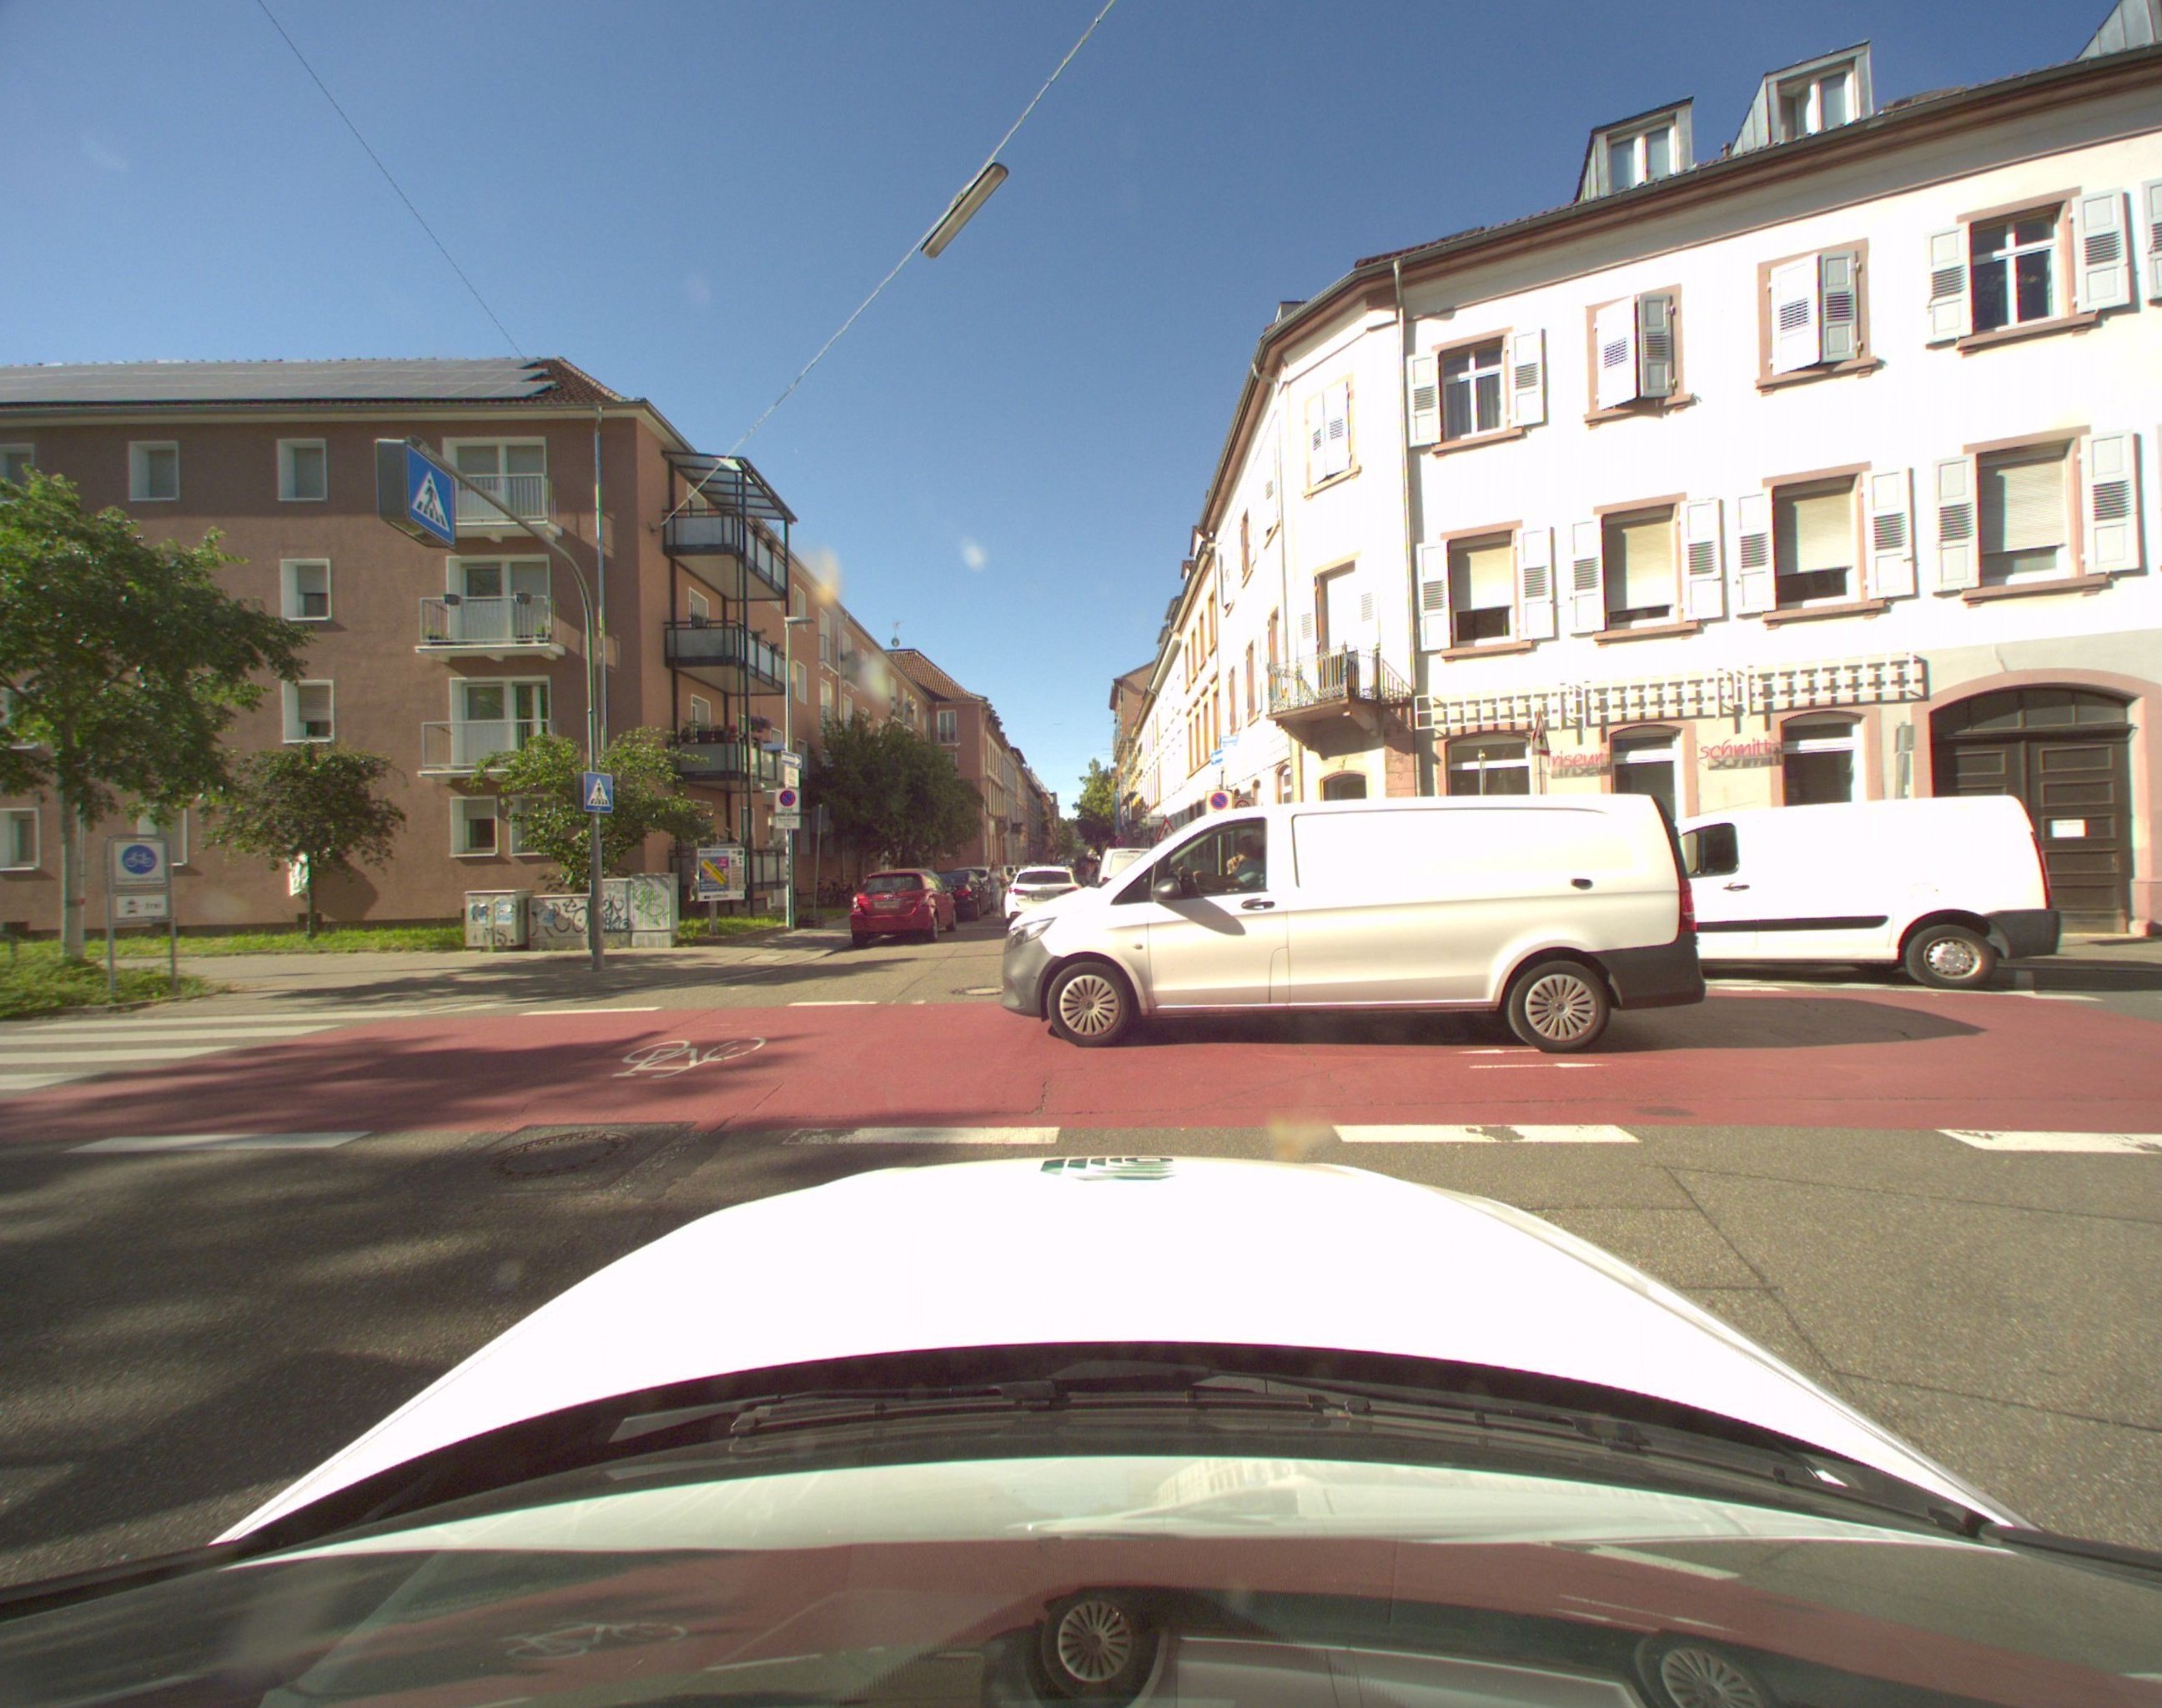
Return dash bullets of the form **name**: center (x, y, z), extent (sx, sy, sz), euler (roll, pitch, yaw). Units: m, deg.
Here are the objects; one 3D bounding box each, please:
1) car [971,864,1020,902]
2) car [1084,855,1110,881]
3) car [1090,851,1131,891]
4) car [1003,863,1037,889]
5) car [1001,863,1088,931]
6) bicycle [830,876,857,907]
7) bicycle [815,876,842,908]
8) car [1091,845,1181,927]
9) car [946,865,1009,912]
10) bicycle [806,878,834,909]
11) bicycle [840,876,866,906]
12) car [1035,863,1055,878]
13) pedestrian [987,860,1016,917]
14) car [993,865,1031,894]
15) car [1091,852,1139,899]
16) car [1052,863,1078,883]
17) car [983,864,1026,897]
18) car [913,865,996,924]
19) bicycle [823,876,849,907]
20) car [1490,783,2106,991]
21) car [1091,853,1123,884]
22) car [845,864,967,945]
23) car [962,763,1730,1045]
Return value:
- **car**: center (-3.693, 1.235, 35.657), extent (1.647, 1.500, 3.763), euler (-1, -1, 1)
- **car**: center (1.238, 1.075, 62.516), extent (1.888, 1.859, 3.995), euler (-1, -1, 1)
- **car**: center (1.434, 0.815, 40.550), extent (1.888, 1.859, 3.995), euler (-1, -1, 1)
- **car**: center (-3.722, 1.313, 50.081), extent (1.647, 1.500, 3.763), euler (-1, -1, 1)
- **car**: center (-0.782, 0.967, 19.833), extent (1.824, 1.457, 3.963), euler (-2, -1, 1)
- **bicycle**: center (-8.436, 1.317, 28.929), extent (1.201, 1.071, 0.255), euler (-2, -1, 40)
- **bicycle**: center (-8.834, 1.323, 28.473), extent (1.201, 1.072, 0.268), euler (-2, -1, 40)
- **car**: center (1.293, 0.764, 21.295), extent (1.889, 1.859, 5.011), euler (1, -1, -1)
- **car**: center (-3.581, 1.160, 28.823), extent (1.647, 1.500, 3.763), euler (-1, -1, 1)
- **bicycle**: center (-9.051, 1.353, 28.207), extent (1.201, 1.035, 0.293), euler (-2, -1, 40)
- **bicycle**: center (-8.137, 1.317, 29.052), extent (1.204, 1.071, 0.255), euler (-2, -1, 40)
- **car**: center (-3.576, 1.626, 81.200), extent (1.647, 1.500, 3.763), euler (-1, -1, 1)
- **pedestrian**: center (-2.327, 1.008, 23.851), extent (0.733, 1.614, 0.813), euler (-2, -1, -11)
- **car**: center (-3.751, 1.353, 44.537), extent (1.647, 1.500, 3.763), euler (-1, -1, 1)
- **car**: center (1.421, 0.896, 35.092), extent (1.888, 1.859, 3.995), euler (-1, -1, 1)
- **car**: center (-1.171, 1.426, 61.261), extent (1.754, 1.410, 4.328), euler (-1, -1, 1)
- **car**: center (-3.664, 1.246, 39.500), extent (1.647, 1.500, 3.763), euler (-1, -1, 1)
- **car**: center (-3.581, 1.114, 23.662), extent (1.647, 1.500, 4.080), euler (-1, -1, 1)
- **bicycle**: center (-8.632, 1.327, 28.701), extent (1.201, 1.071, 0.255), euler (-2, -1, 40)
- **car**: center (7.652, 0.369, 9.515), extent (4.965, 1.946, 2.062), euler (-2, -1, 23)
- **car**: center (1.648, 0.894, 52.541), extent (1.888, 1.859, 3.995), euler (-2, -1, 1)
- **car**: center (-3.680, 1.008, 17.778), extent (1.679, 1.500, 3.807), euler (-3, -1, 1)
- **car**: center (1.919, 0.409, 7.021), extent (5.372, 1.907, 2.114), euler (-1, -1, 10)
